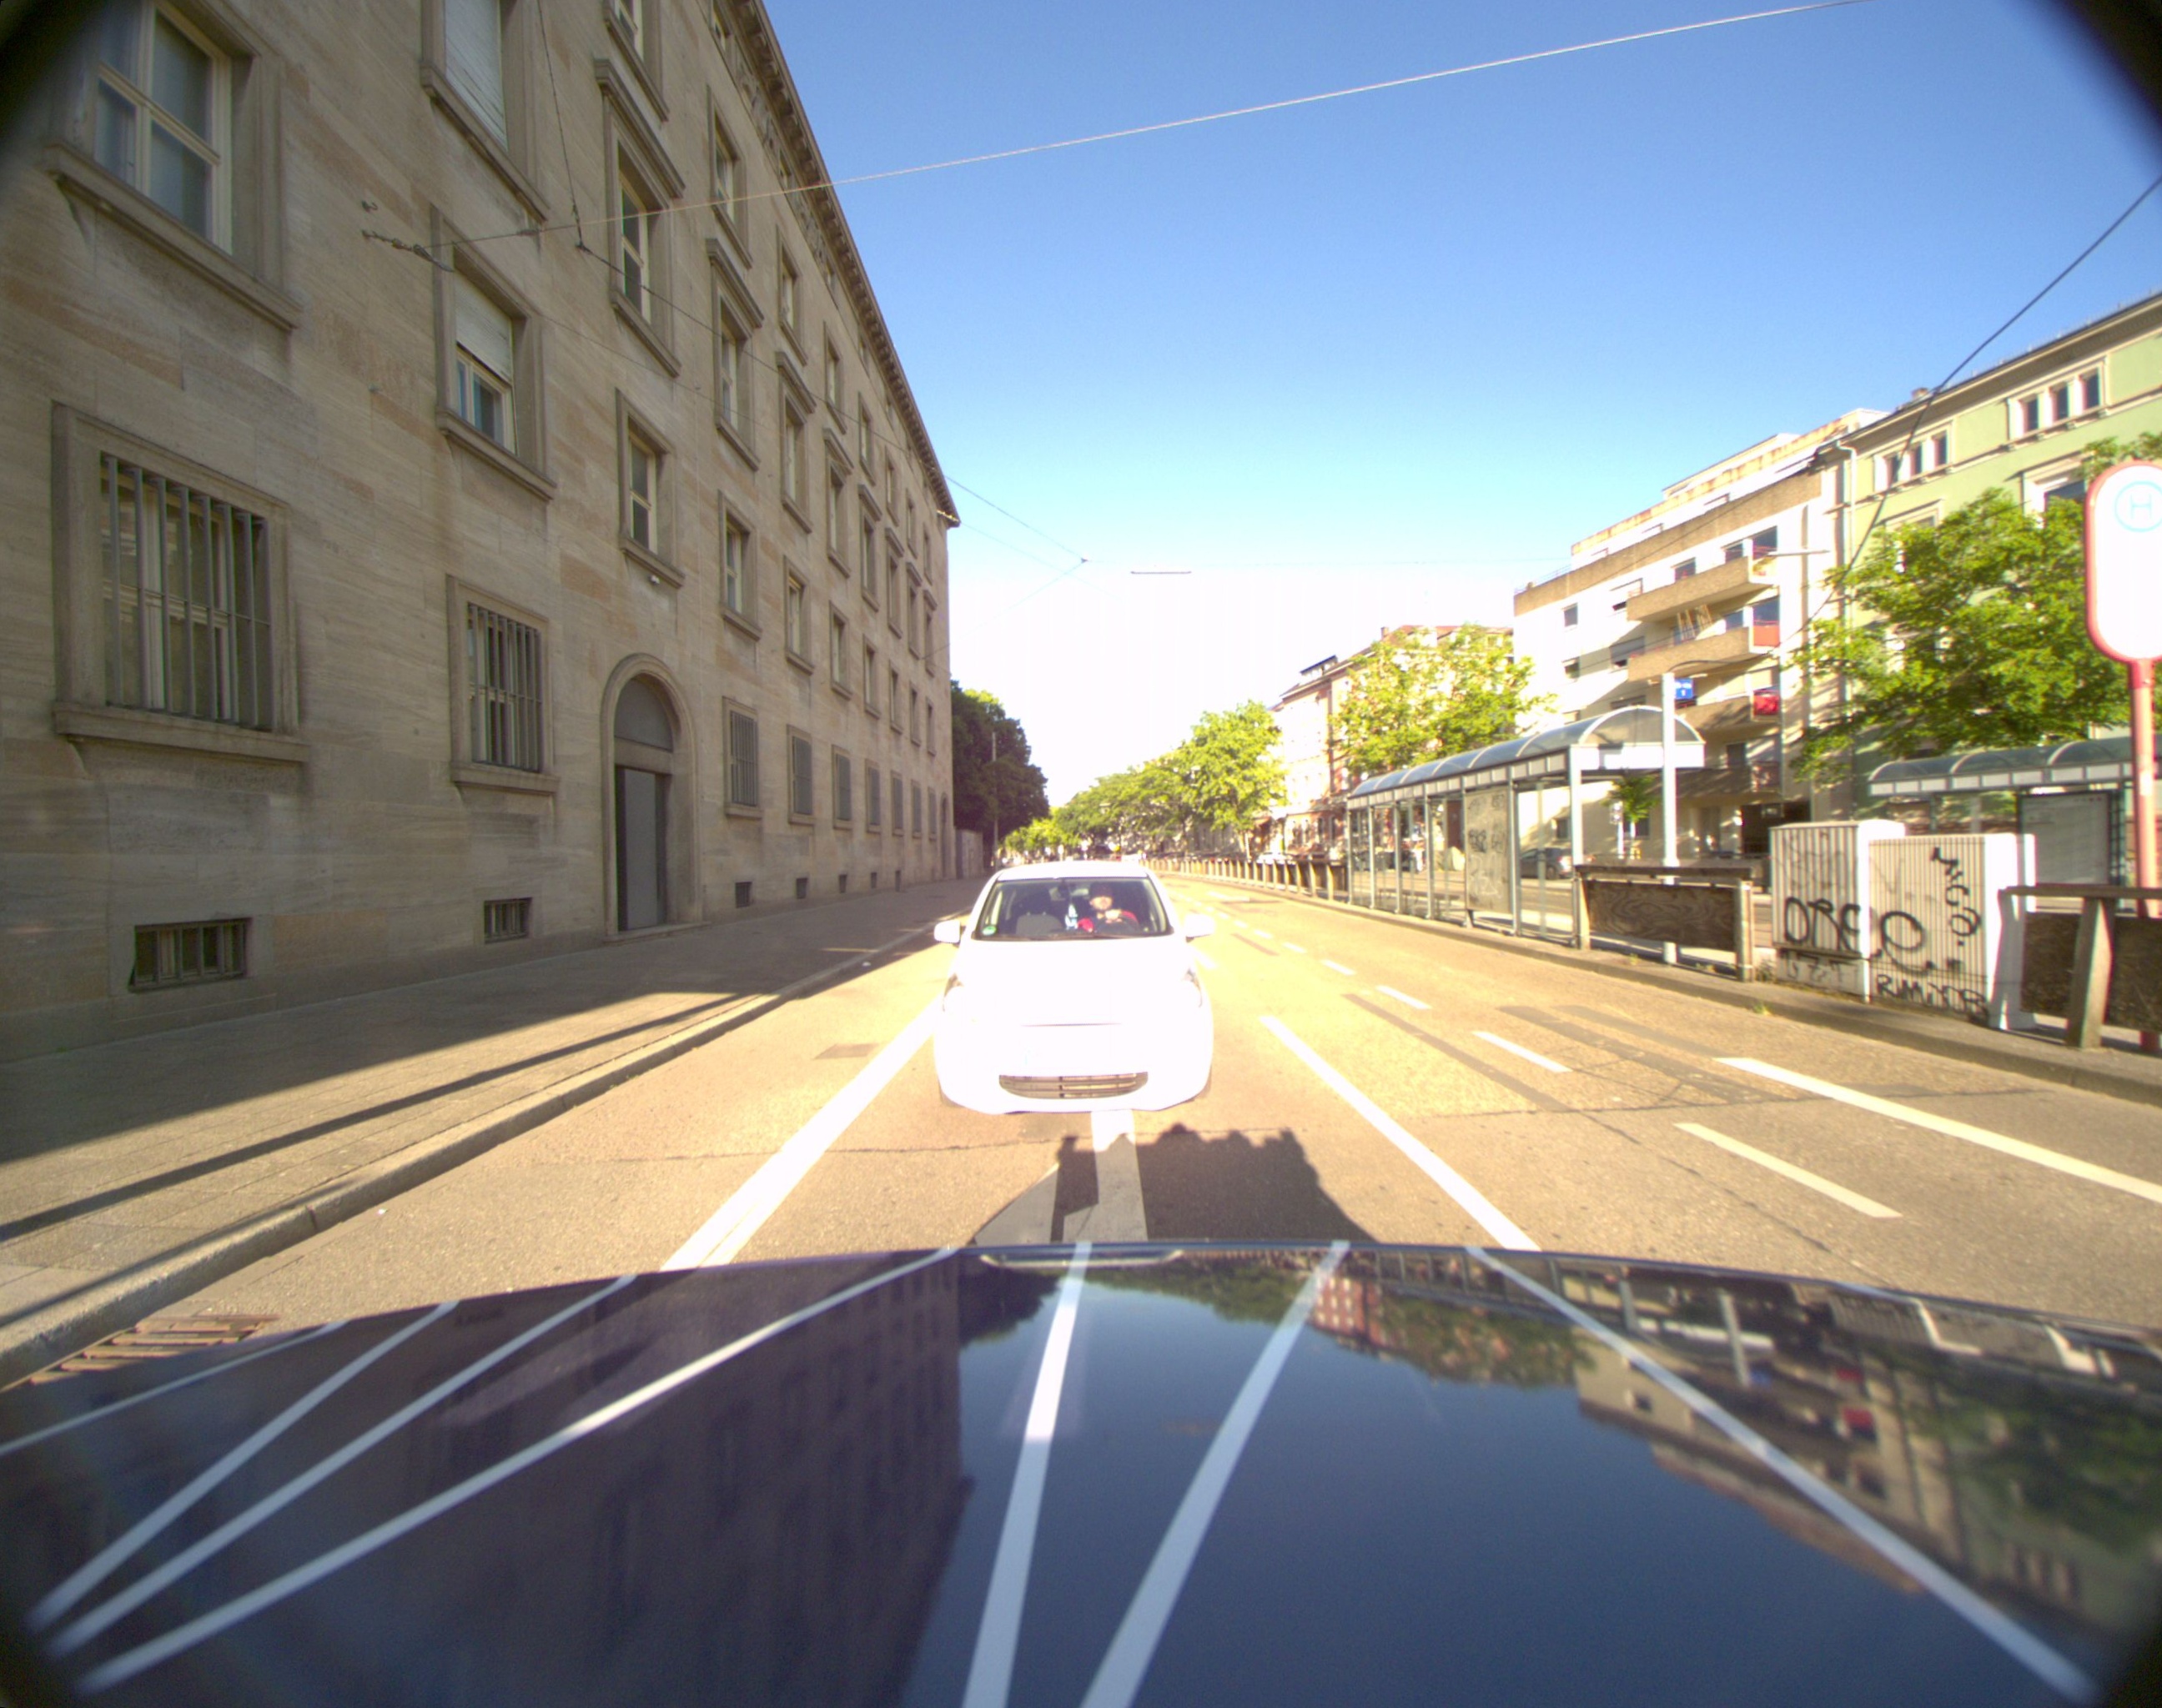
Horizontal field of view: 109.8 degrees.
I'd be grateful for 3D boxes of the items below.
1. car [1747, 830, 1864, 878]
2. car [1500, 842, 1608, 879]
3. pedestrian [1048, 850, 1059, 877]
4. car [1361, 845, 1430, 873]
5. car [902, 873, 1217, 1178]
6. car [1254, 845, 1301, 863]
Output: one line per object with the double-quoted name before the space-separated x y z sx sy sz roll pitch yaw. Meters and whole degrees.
"car" 31.600 -0.008 33.189 4.001 2.002 1.798 -1 1 -13
"car" 21.071 0.272 34.064 2.000 1.521 3.997 0 0 -8
"pedestrian" -1.772 0.614 49.332 0.686 1.673 0.928 -1 1 -2
"car" 18.362 0.276 44.544 2.000 1.521 3.997 -1 0 -8
"car" -0.086 0.940 5.772 1.606 1.455 3.621 -1 0 1
"car" 16.388 0.001 63.326 3.648 1.342 1.578 -2 1 -29
